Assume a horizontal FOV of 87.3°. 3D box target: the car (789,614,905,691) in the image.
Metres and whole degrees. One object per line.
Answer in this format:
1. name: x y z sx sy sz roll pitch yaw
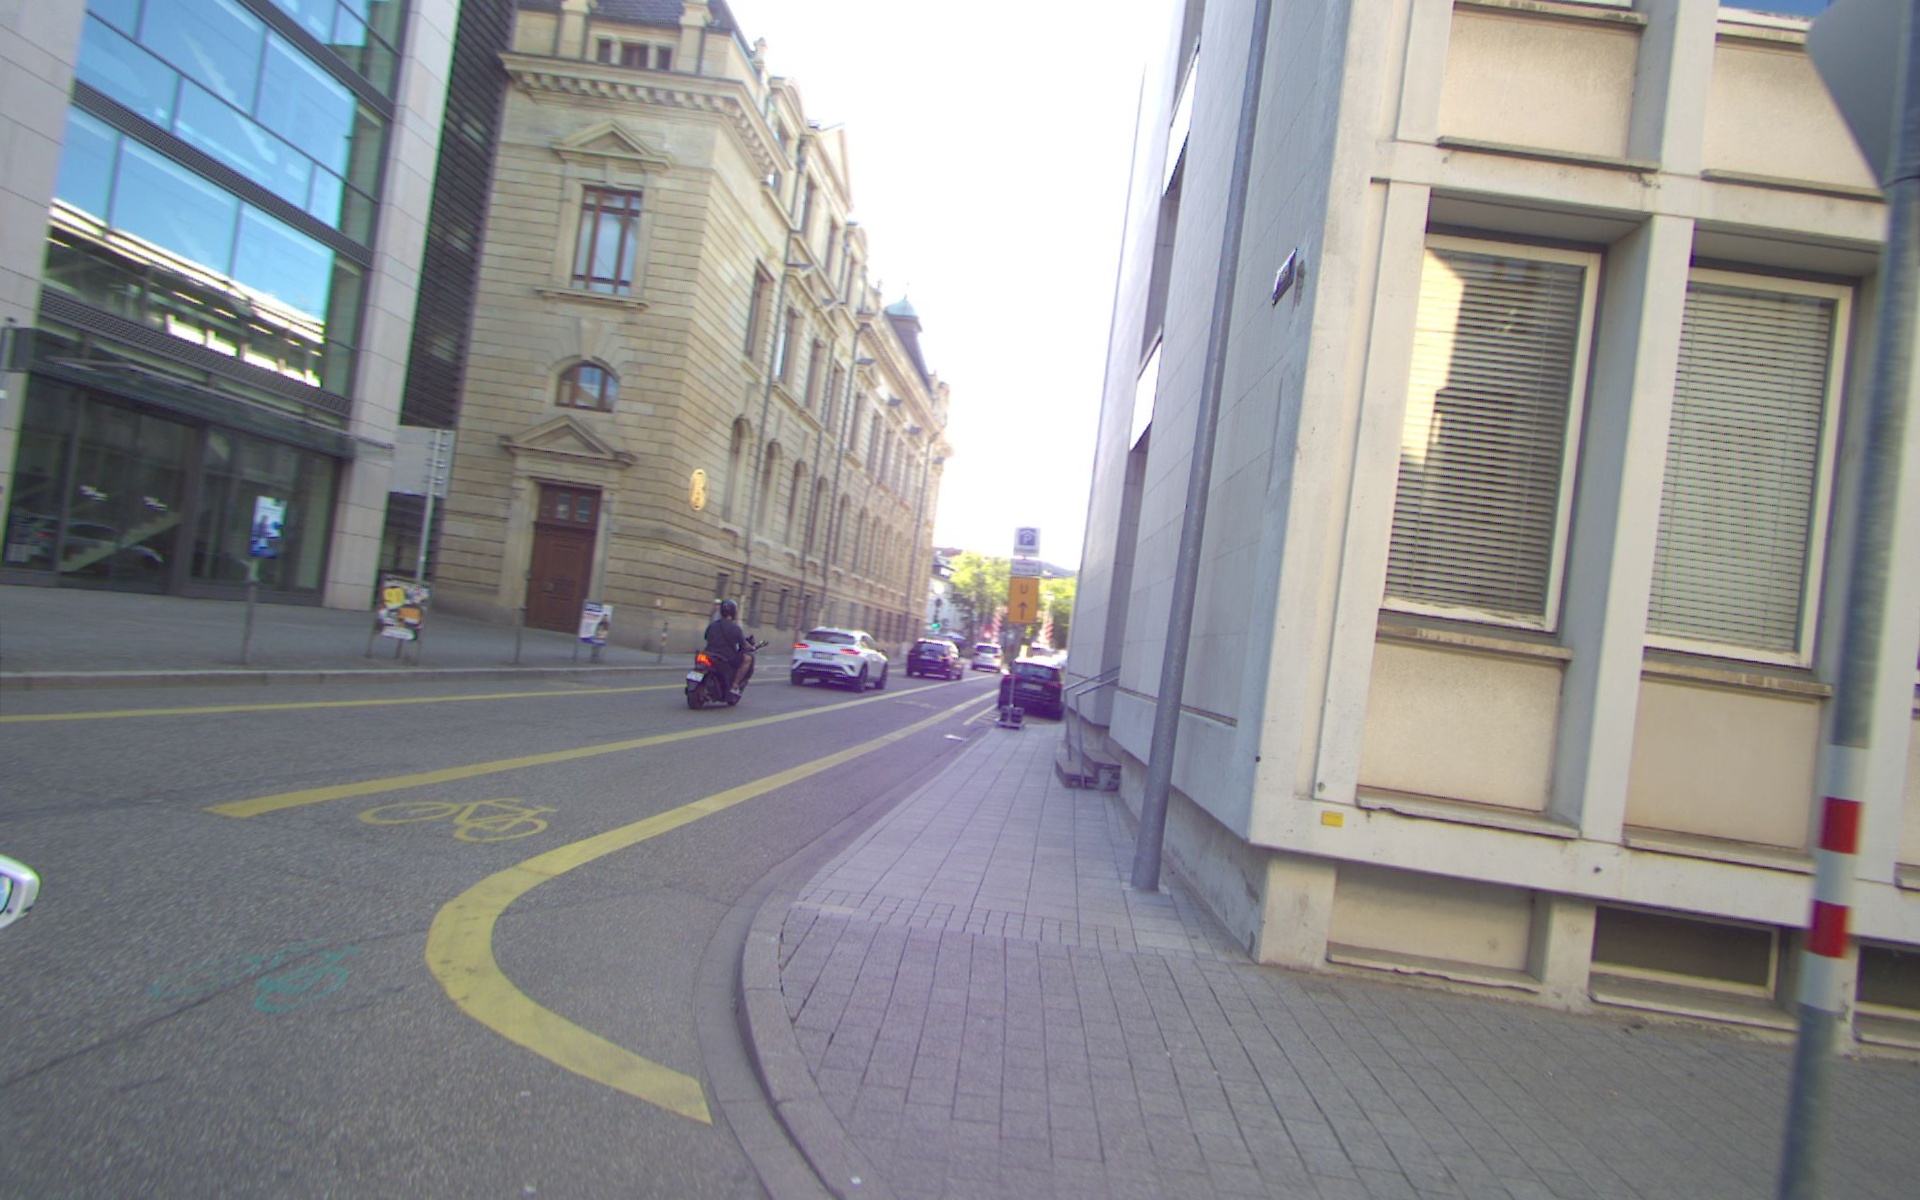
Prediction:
1. car: -2.794 1.380 25.927 1.794 1.559 4.270 8 -2 8

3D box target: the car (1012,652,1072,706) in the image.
1. car: 2.879 2.680 34.440 1.753 1.495 4.296 7 -3 7

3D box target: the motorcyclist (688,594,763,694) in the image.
1. motorcyclist: -3.669 0.693 15.764 0.853 1.443 0.456 7 -2 15

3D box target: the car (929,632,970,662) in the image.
1. car: -0.762 3.243 70.103 1.966 1.685 4.349 5 0 -11

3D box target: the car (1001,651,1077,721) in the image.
1. car: 2.242 2.301 27.879 1.754 1.496 4.293 9 -1 6

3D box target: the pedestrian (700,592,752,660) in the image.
1. pedestrian: -6.916 0.783 29.773 0.828 1.819 1.075 11 -2 10

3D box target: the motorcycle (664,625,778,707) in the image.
1. motorcycle: -3.707 1.054 15.787 0.859 1.121 1.843 7 -3 15
